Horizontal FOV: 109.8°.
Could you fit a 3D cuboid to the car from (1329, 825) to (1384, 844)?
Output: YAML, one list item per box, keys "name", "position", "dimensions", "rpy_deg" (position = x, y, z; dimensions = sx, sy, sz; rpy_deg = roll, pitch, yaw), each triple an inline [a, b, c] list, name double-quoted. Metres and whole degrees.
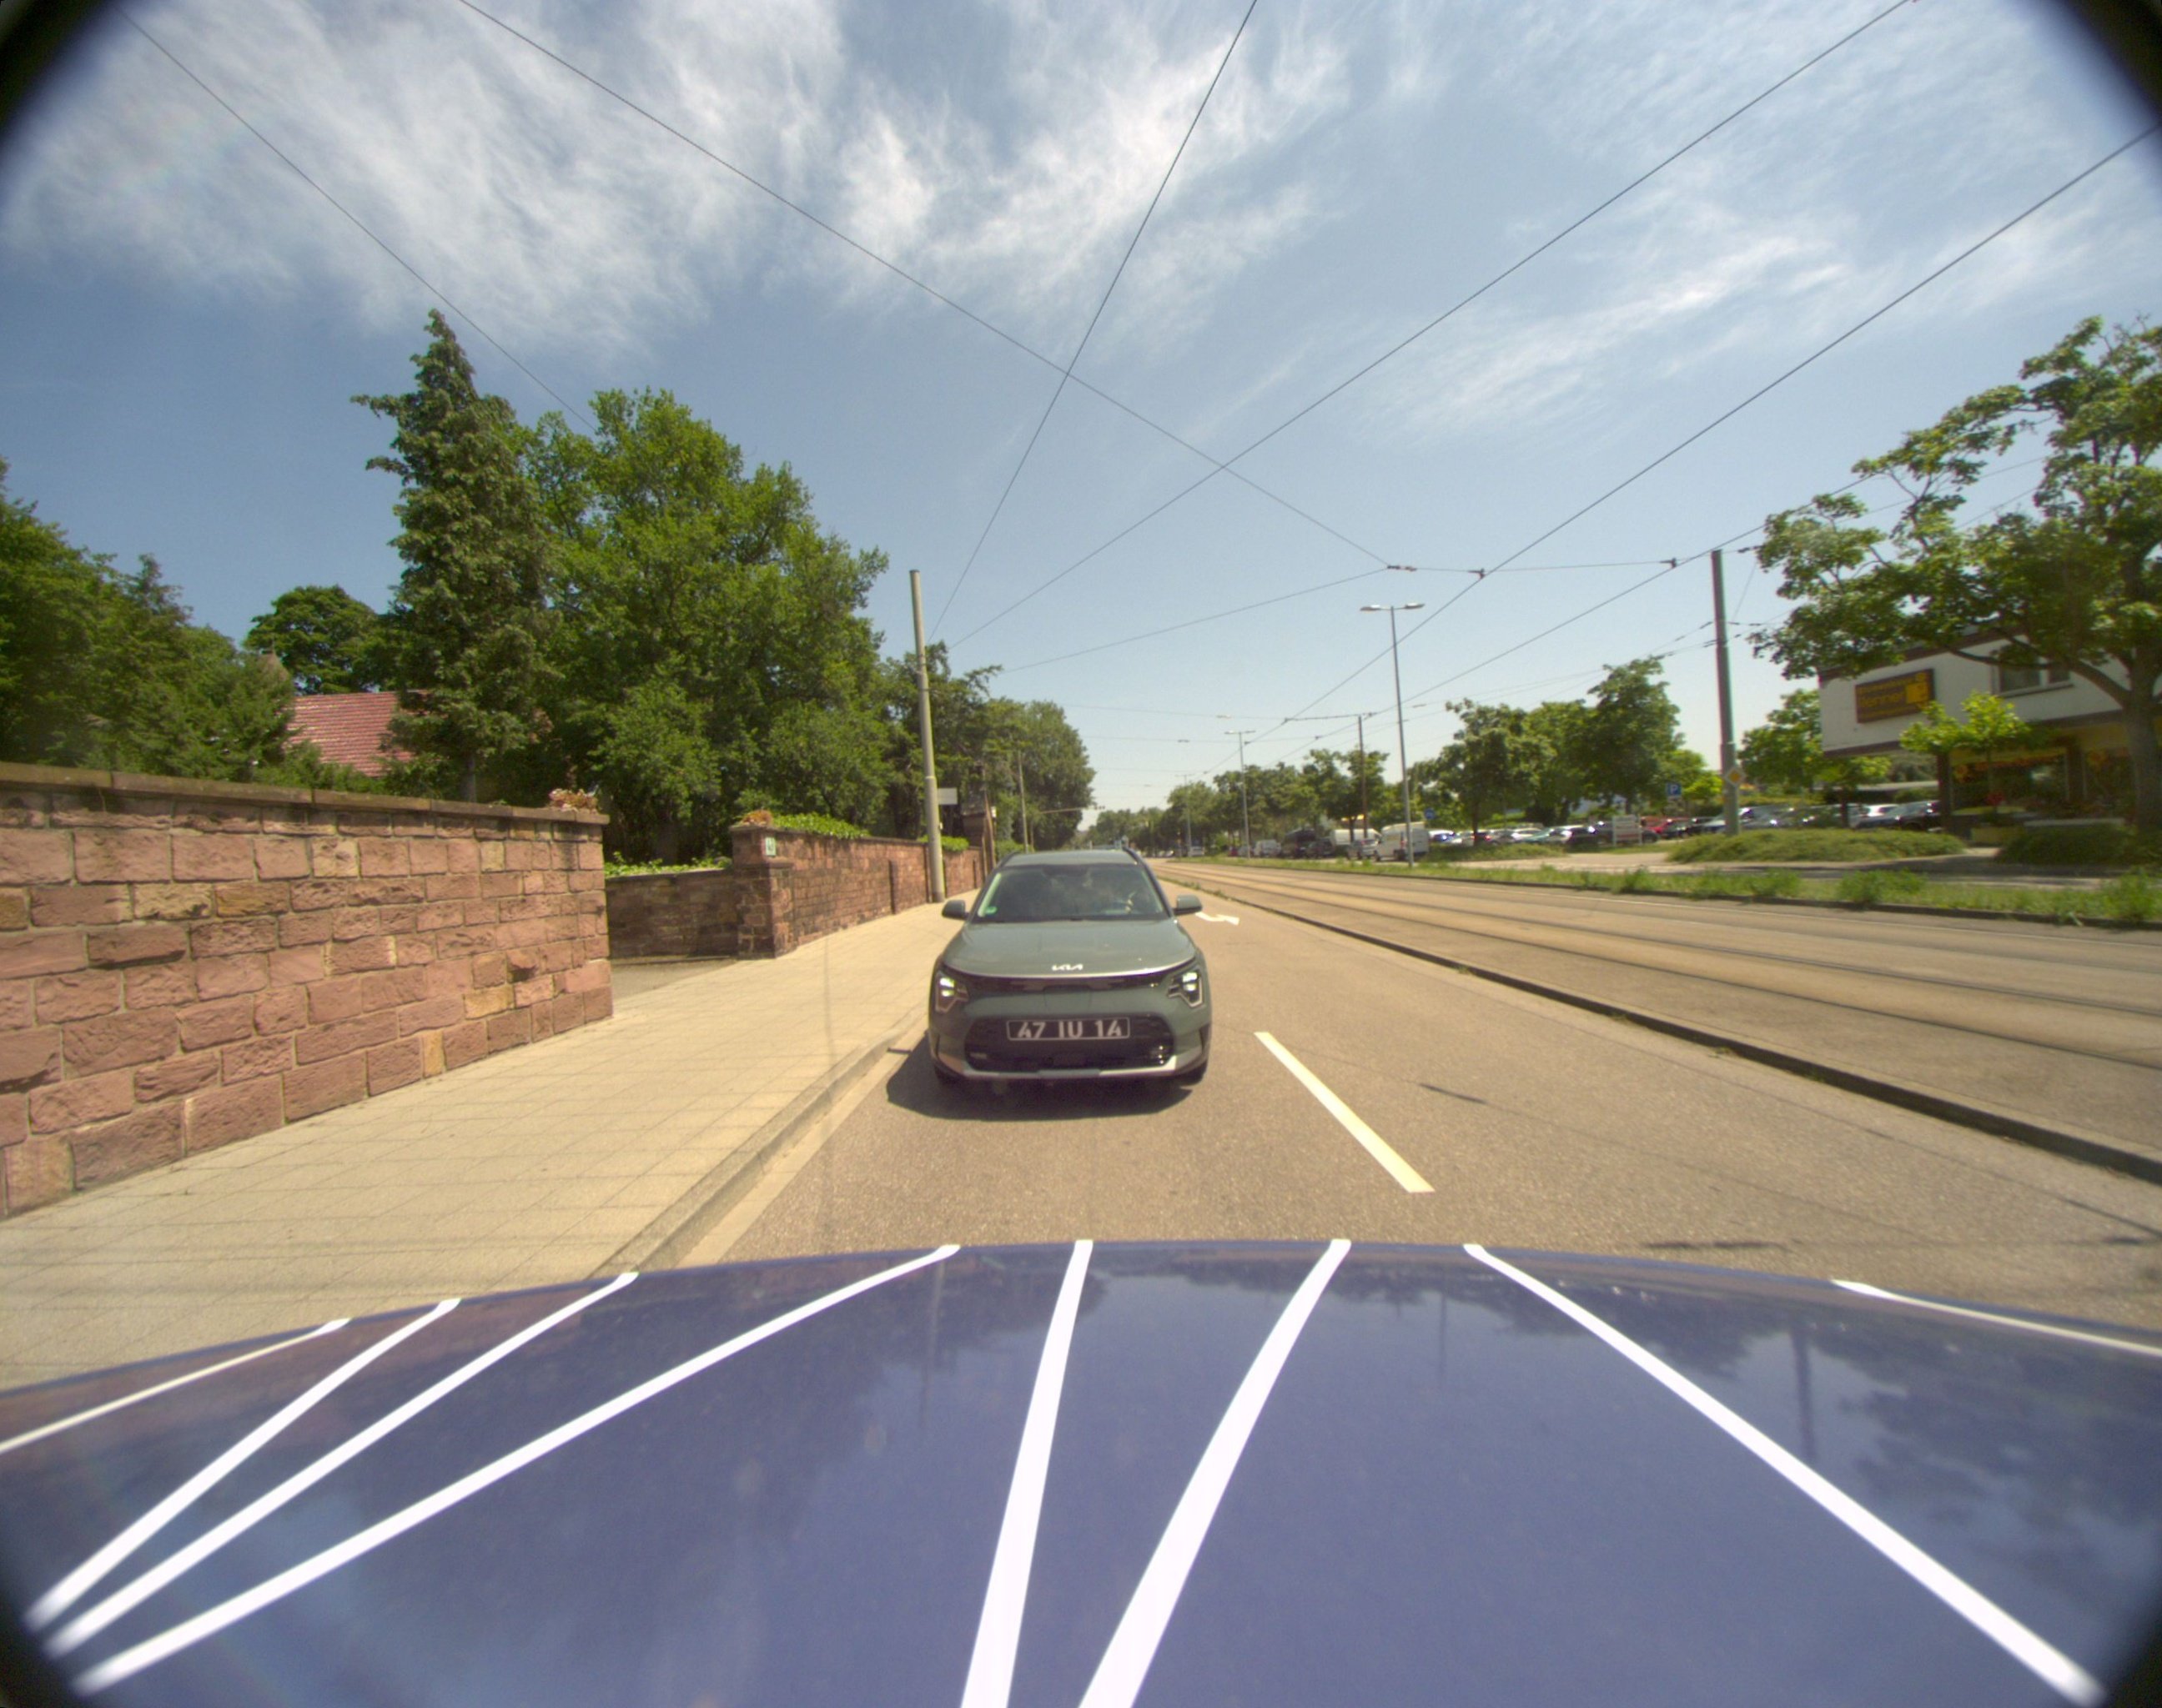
- name: "car"
  position: [30.580, -2.164, 84.453]
  dimensions: [5.434, 1.945, 2.029]
  rpy_deg: [-2, 1, 2]

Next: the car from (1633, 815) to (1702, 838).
- name: "car"
  position: [44.216, -2.071, 57.293]
  dimensions: [3.999, 1.486, 1.715]
  rpy_deg: [-2, 1, -5]

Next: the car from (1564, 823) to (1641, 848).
- name: "car"
  position: [30.527, -1.076, 44.517]
  dimensions: [3.423, 1.225, 1.643]
  rpy_deg: [-3, 1, -6]

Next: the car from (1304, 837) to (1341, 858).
- name: "car"
  position: [20.297, -0.567, 63.924]
  dimensions: [1.976, 1.568, 3.751]
  rpy_deg: [-2, 1, 1]

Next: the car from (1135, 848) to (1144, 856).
- name: "car"
  position: [15.717, -0.590, 203.595]
  dimensions: [1.821, 1.979, 4.212]
  rpy_deg: [-2, 1, -3]

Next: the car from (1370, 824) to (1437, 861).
- name: "car"
  position: [20.129, -0.707, 47.700]
  dimensions: [1.880, 1.999, 5.343]
  rpy_deg: [-6, 1, 1]

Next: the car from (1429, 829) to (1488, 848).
- name: "car"
  position: [31.150, -1.284, 62.724]
  dimensions: [3.998, 1.398, 1.797]
  rpy_deg: [-2, 0, -3]

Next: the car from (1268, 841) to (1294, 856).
- name: "car"
  position: [20.562, -0.617, 78.340]
  dimensions: [1.767, 1.456, 3.608]
  rpy_deg: [-2, 1, 2]

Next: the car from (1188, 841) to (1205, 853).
- name: "car"
  position: [16.022, -0.997, 105.377]
  dimensions: [1.728, 1.601, 4.569]
  rpy_deg: [-2, 1, 2]

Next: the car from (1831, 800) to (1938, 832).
- name: "car"
  position: [43.901, -2.068, 41.572]
  dimensions: [3.996, 1.511, 1.661]
  rpy_deg: [-2, 1, 3]

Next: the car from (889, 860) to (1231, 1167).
- name: "car"
  position: [-0.121, 0.888, 6.291]
  dimensions: [1.824, 1.577, 4.287]
  rpy_deg: [-2, 0, 0]

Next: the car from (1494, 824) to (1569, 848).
- name: "car"
  position: [30.920, -1.216, 52.225]
  dimensions: [4.146, 1.481, 1.859]
  rpy_deg: [-2, 1, -6]

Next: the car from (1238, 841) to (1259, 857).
- name: "car"
  position: [20.816, -0.672, 94.430]
  dimensions: [1.635, 1.882, 4.496]
  rpy_deg: [-2, 1, 1]

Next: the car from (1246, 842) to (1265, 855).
- name: "car"
  position: [20.585, -0.690, 89.730]
  dimensions: [1.429, 1.470, 3.262]
  rpy_deg: [-2, 1, 1]

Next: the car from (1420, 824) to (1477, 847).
- name: "car"
  position: [31.596, -1.547, 65.377]
  dimensions: [3.998, 1.708, 1.797]
  rpy_deg: [-3, 1, -3]

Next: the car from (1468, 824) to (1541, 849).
- name: "car"
  position: [30.411, -1.250, 54.637]
  dimensions: [4.163, 1.481, 2.022]
  rpy_deg: [-3, 1, -6]

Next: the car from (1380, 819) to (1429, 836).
- name: "car"
  position: [44.518, -3.675, 104.646]
  dimensions: [5.744, 2.051, 2.147]
  rpy_deg: [-2, 1, -2]

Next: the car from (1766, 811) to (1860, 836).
- name: "car"
  position: [42.754, -1.750, 44.437]
  dimensions: [3.724, 1.277, 1.764]
  rpy_deg: [-2, 1, 3]

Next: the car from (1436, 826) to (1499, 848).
- name: "car"
  position: [30.494, -1.325, 59.961]
  dimensions: [3.999, 1.480, 1.866]
  rpy_deg: [-3, 1, -6]

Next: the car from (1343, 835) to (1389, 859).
- name: "car"
  position: [20.245, -0.514, 54.191]
  dimensions: [1.654, 1.494, 4.125]
  rpy_deg: [-6, 1, 1]

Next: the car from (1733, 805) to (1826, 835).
- name: "car"
  position: [43.261, -2.070, 47.134]
  dimensions: [3.996, 1.647, 1.803]
  rpy_deg: [-2, 1, 3]

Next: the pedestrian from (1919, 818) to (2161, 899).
- name: "pedestrian"
  position: [26.703, 0.075, 21.310]
  dimensions: [1.998, 2.002, 3.999]
  rpy_deg: [-2, 1, 0]

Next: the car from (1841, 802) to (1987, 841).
- name: "car"
  position: [34.053, -1.309, 31.143]
  dimensions: [3.996, 1.289, 1.682]
  rpy_deg: [-4, 0, 2]

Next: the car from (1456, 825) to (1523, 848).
- name: "car"
  position: [30.843, -1.306, 57.467]
  dimensions: [4.075, 1.481, 1.831]
  rpy_deg: [-3, 1, -6]

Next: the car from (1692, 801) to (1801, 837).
- name: "car"
  position: [43.350, -2.238, 49.554]
  dimensions: [5.120, 2.058, 2.226]
  rpy_deg: [-2, 1, 1]

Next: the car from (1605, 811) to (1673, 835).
- name: "car"
  position: [43.714, -2.398, 59.569]
  dimensions: [4.129, 1.643, 1.692]
  rpy_deg: [-3, 1, -5]

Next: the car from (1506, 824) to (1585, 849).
- name: "car"
  position: [30.398, -1.126, 49.769]
  dimensions: [4.040, 1.481, 1.911]
  rpy_deg: [-2, 1, -6]

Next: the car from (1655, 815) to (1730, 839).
- name: "car"
  position: [43.946, -1.930, 54.656]
  dimensions: [3.997, 1.576, 1.684]
  rpy_deg: [-2, 1, -1]

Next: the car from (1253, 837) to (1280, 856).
- name: "car"
  position: [20.538, -0.864, 84.189]
  dimensions: [1.924, 1.937, 4.816]
  rpy_deg: [-2, 1, 2]

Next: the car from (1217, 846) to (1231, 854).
- name: "car"
  position: [21.274, -0.612, 113.011]
  dimensions: [1.582, 1.152, 3.423]
  rpy_deg: [-2, 1, 2]

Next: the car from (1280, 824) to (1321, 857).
- name: "car"
  position: [20.215, -1.232, 70.279]
  dimensions: [2.244, 2.822, 5.667]
  rpy_deg: [-2, 1, 1]

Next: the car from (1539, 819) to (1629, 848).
- name: "car"
  position: [31.120, -1.263, 47.084]
  dimensions: [4.172, 1.481, 1.984]
  rpy_deg: [-3, 1, -1]

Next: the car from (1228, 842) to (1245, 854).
- name: "car"
  position: [20.620, -0.808, 100.969]
  dimensions: [1.582, 1.472, 3.423]
  rpy_deg: [-2, 1, 2]
